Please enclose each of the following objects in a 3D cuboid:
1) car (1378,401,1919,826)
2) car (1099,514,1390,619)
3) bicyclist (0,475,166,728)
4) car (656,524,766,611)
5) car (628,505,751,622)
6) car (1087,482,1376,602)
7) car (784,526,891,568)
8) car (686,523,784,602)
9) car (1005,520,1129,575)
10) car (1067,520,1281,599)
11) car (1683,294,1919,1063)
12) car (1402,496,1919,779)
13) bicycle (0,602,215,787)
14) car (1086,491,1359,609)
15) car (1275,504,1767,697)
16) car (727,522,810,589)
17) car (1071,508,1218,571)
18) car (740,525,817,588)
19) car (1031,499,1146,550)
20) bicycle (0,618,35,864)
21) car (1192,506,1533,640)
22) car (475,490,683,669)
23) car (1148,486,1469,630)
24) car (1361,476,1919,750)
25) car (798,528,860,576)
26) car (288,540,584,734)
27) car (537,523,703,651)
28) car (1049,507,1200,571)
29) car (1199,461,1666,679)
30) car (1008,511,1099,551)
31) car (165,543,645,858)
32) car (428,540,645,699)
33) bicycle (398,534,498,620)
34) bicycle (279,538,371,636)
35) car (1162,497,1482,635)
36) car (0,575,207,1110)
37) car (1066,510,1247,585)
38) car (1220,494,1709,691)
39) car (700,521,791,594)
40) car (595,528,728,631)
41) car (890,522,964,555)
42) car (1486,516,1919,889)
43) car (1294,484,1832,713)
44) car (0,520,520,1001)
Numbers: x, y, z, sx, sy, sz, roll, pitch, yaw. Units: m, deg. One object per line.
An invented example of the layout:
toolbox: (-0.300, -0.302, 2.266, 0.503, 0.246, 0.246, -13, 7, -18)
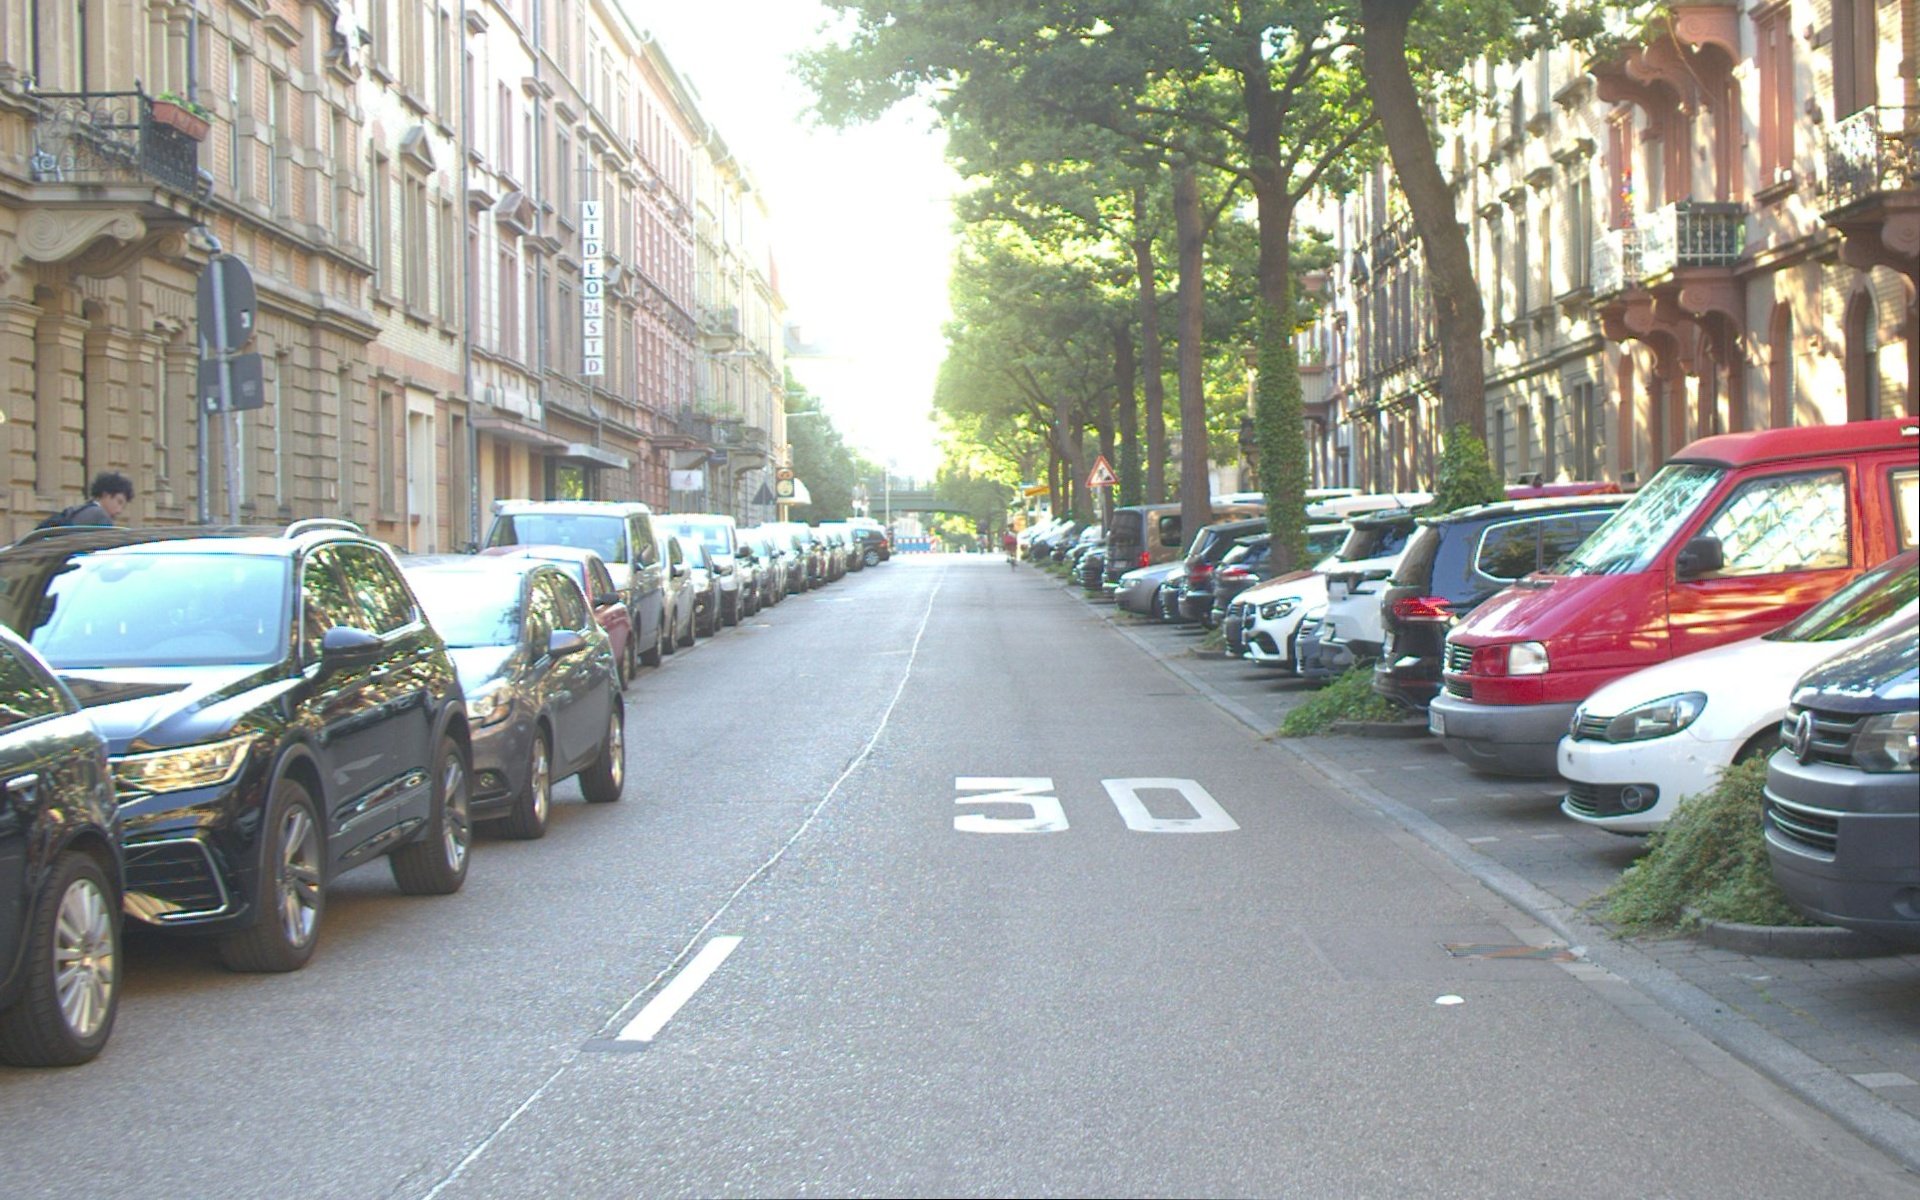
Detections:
car: (4.756, -0.003, 18.352, 4.674, 2.026, 1.879, -3, 1, -3)
car: (4.395, -0.535, 53.511, 4.220, 1.398, 1.835, -3, 1, -4)
bicyclist: (-6.572, -0.004, 25.174, 0.996, 1.783, 1.207, -1, 2, 12)
car: (-4.496, -0.622, 62.542, 1.758, 1.468, 4.060, -1, 1, -1)
car: (-4.490, -0.648, 57.603, 1.758, 1.835, 4.530, -1, 1, -1)
car: (4.929, -1.071, 62.873, 5.057, 1.918, 1.835, -3, 1, 0)
car: (-4.526, -1.953, 127.335, 1.997, 1.481, 3.993, -2, -1, 33)
car: (-4.466, -0.774, 68.643, 1.758, 1.468, 4.060, -1, 1, -1)
car: (3.413, -1.687, 110.086, 3.850, 1.568, 1.718, -3, 1, 1)
car: (4.070, -0.791, 65.747, 3.850, 1.289, 1.718, -3, 1, -3)
car: (5.029, 0.180, 10.896, 5.021, 2.207, 1.993, -1, 1, -1)
car: (5.156, 0.161, 20.927, 4.675, 1.509, 1.879, -3, 1, 2)
bicycle: (-6.555, 0.661, 25.194, 0.996, 1.154, 2.922, -1, 2, 12)
car: (4.514, -0.872, 59.143, 4.220, 1.788, 1.835, -3, 1, -19)
car: (4.945, -0.007, 30.689, 4.010, 1.429, 1.794, -4, 1, 0)
car: (-4.408, -1.051, 79.761, 1.758, 1.468, 4.060, -1, 1, -1)
car: (5.238, -1.725, 97.759, 3.849, 1.568, 1.718, -3, 1, -8)
car: (-4.440, -1.093, 84.527, 1.758, 1.468, 4.060, -1, 1, -1)
car: (4.485, -2.645, 120.142, 3.850, 1.568, 1.718, -3, 1, 0)
bicycle: (-5.356, 0.647, 16.164, 1.867, 1.124, 0.528, 0, 0, 1)
car: (5.017, -0.344, 43.192, 4.010, 1.462, 1.734, -3, 1, 0)
car: (-4.390, -0.285, 40.344, 1.832, 1.936, 5.260, 1, 1, 0)
car: (4.867, -0.605, 48.424, 4.220, 1.770, 1.835, -3, 1, -1)
car: (4.921, 0.058, 23.383, 4.187, 1.622, 1.837, -3, 1, 4)
car: (-4.438, -1.622, 117.178, 1.993, 1.481, 4.000, -1, 0, -1)
car: (-4.490, 0.268, 30.034, 1.758, 1.496, 4.060, -2, 1, 3)
car: (-4.502, -0.211, 46.098, 1.753, 1.603, 4.384, 1, 1, 0)
car: (4.554, -1.691, 95.360, 3.849, 1.568, 1.718, -3, 1, -8)
car: (4.842, -0.338, 35.621, 4.443, 1.917, 1.850, -4, 2, -2)
car: (4.077, -3.034, 150.456, 3.850, 1.568, 1.718, -3, 1, 0)
car: (-2.959, 0.471, 19.177, 1.758, 1.496, 4.059, -2, 1, 3)
car: (-4.207, 0.152, 34.599, 1.592, 1.470, 3.699, 1, 1, 2)
bicycle: (-8.213, -0.396, 55.349, 1.041, 1.314, 4.000, 0, 1, -1)
bicycle: (-8.536, -0.194, 46.330, 0.740, 1.251, 2.827, 0, 1, -1)
car: (4.781, -0.457, 45.777, 4.010, 1.601, 1.734, -3, 1, 0)
car: (-3.566, 0.704, 8.995, 1.759, 1.447, 4.549, -2, 1, 6)
car: (4.444, -1.204, 78.071, 3.850, 1.474, 1.718, -3, 1, -3)
car: (4.789, -0.100, 33.062, 4.344, 1.551, 1.850, -4, 2, 0)
car: (-4.562, -0.928, 73.511, 1.758, 1.468, 4.060, -1, 1, -1)
car: (-4.530, -0.346, 52.591, 1.758, 1.462, 4.001, 1, 1, -1)
car: (-1.880, -3.502, 196.331, 3.988, 1.853, 1.751, 0, 1, 8)
car: (4.586, 0.365, 15.570, 4.054, 1.505, 1.879, -3, 1, 0)
car: (4.884, -0.021, 28.236, 4.010, 1.622, 1.805, -3, 1, -1)
car: (-3.139, 0.504, 13.898, 1.759, 1.594, 4.550, -2, 1, 4)
